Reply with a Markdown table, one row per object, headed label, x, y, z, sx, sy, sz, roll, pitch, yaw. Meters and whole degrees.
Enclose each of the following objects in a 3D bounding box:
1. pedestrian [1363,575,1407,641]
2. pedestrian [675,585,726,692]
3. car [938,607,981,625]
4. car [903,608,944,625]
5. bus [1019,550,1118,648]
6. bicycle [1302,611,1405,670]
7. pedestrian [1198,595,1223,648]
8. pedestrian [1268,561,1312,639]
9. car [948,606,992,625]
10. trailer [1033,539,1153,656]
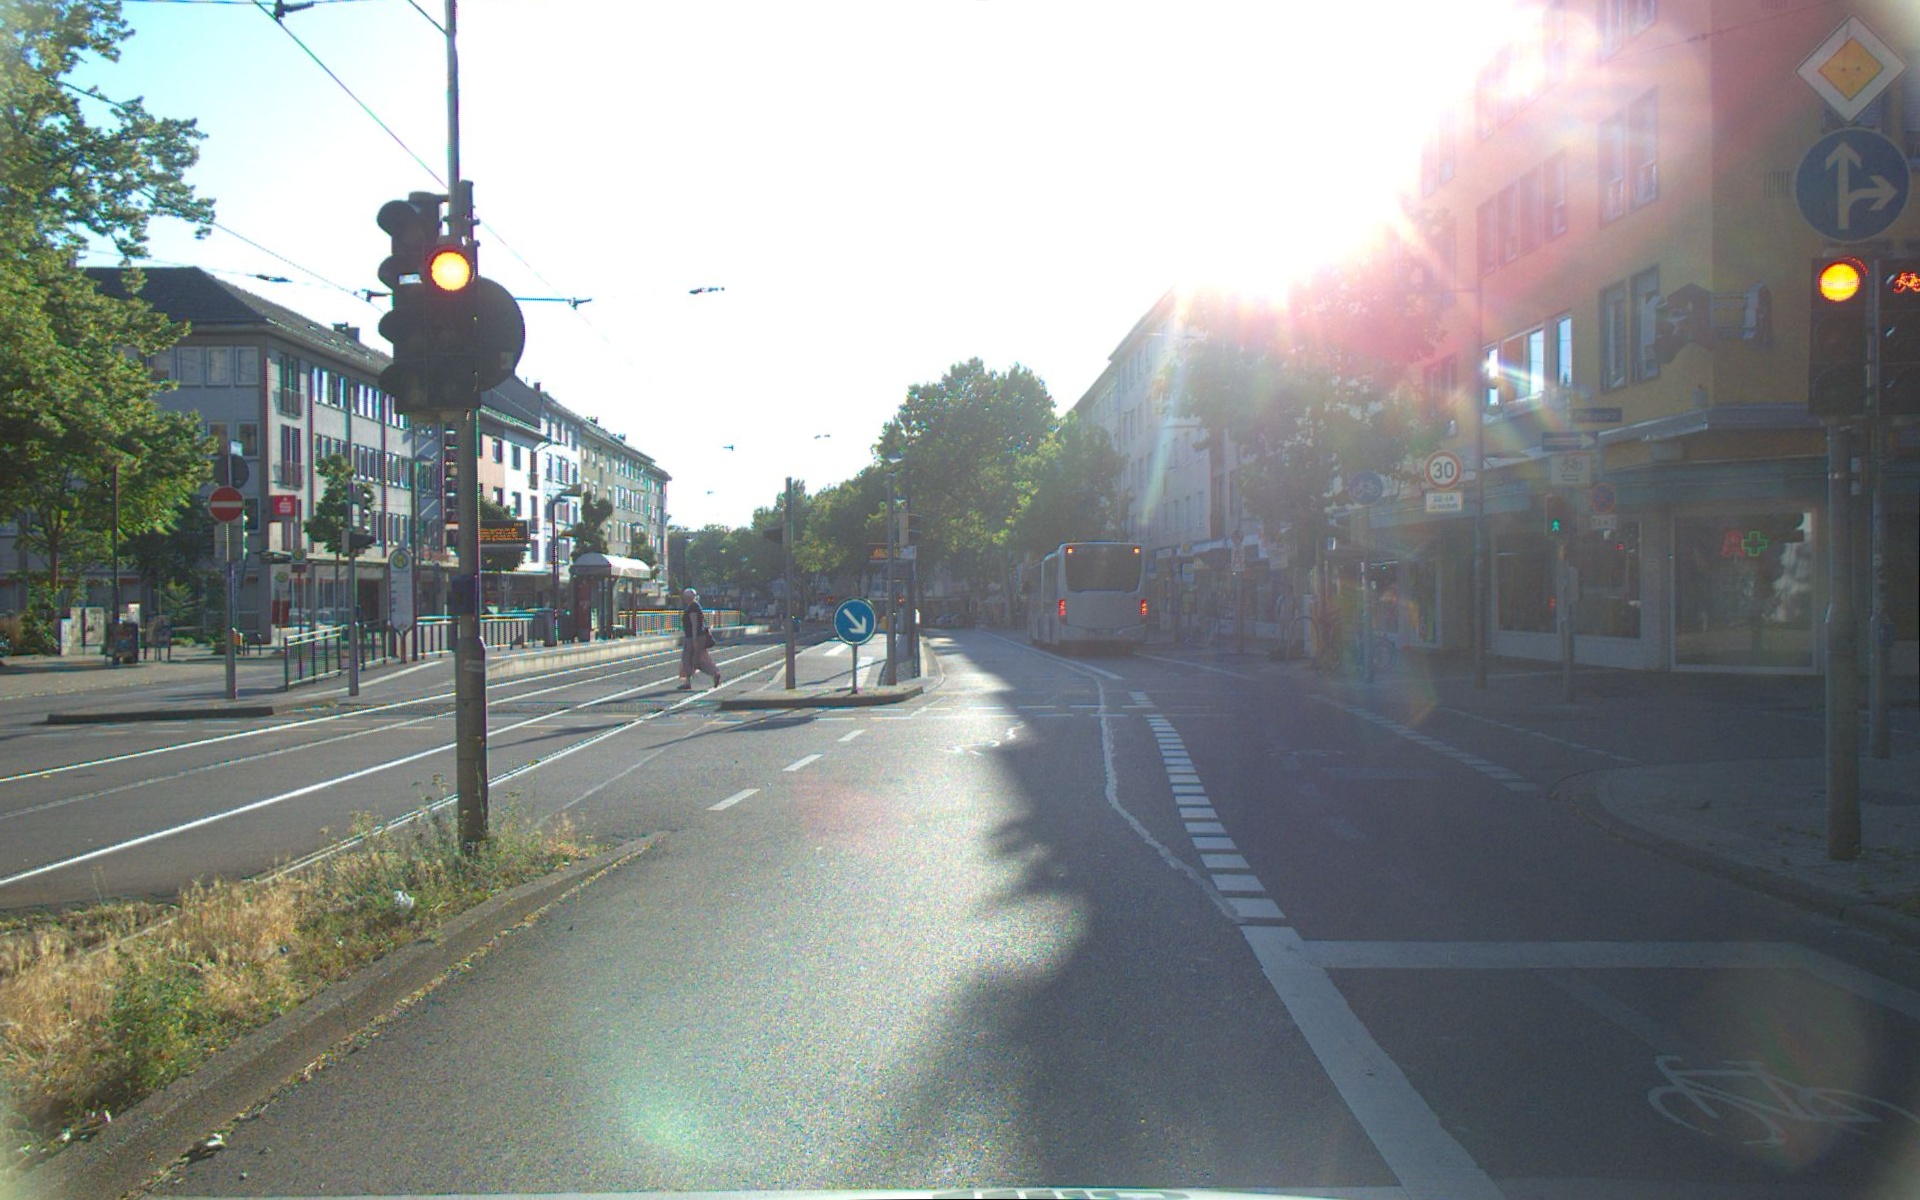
| label | x | y | z | sx | sy | sz | roll | pitch | yaw |
| --- | --- | --- | --- | --- | --- | --- | --- | --- | --- |
| pedestrian | 13.522 | 0.253 | 52.627 | 0.981 | 2.049 | 0.916 | -1 | 0 | -39 |
| pedestrian | -4.547 | 0.662 | 29.006 | 0.666 | 1.801 | 0.687 | -4 | 0 | 0 |
| car | -0.031 | 1.550 | 161.345 | 3.848 | 1.729 | 1.815 | -1 | 0 | -30 |
| car | -3.686 | 1.621 | 166.302 | 3.848 | 1.624 | 1.674 | -1 | 0 | -30 |
| bus | 3.738 | -0.031 | 58.986 | 2.755 | 3.156 | 9.092 | 1 | 0 | -1 |
| bicycle | 7.468 | 0.760 | 31.432 | 1.737 | 1.039 | 0.694 | -2 | 0 | -2 |
| pedestrian | 7.926 | 0.687 | 52.413 | 0.662 | 1.656 | 0.655 | 1 | 0 | 0 |
| pedestrian | 8.821 | 0.006 | 44.258 | 0.934 | 2.049 | 0.917 | 1 | 0 | -3 |
| car | 0.996 | 1.503 | 158.708 | 3.848 | 1.729 | 1.815 | -1 | 0 | -30 |
| trailer | 3.870 | -0.058 | 50.076 | 2.755 | 3.165 | 8.792 | 1 | 0 | -1 |
